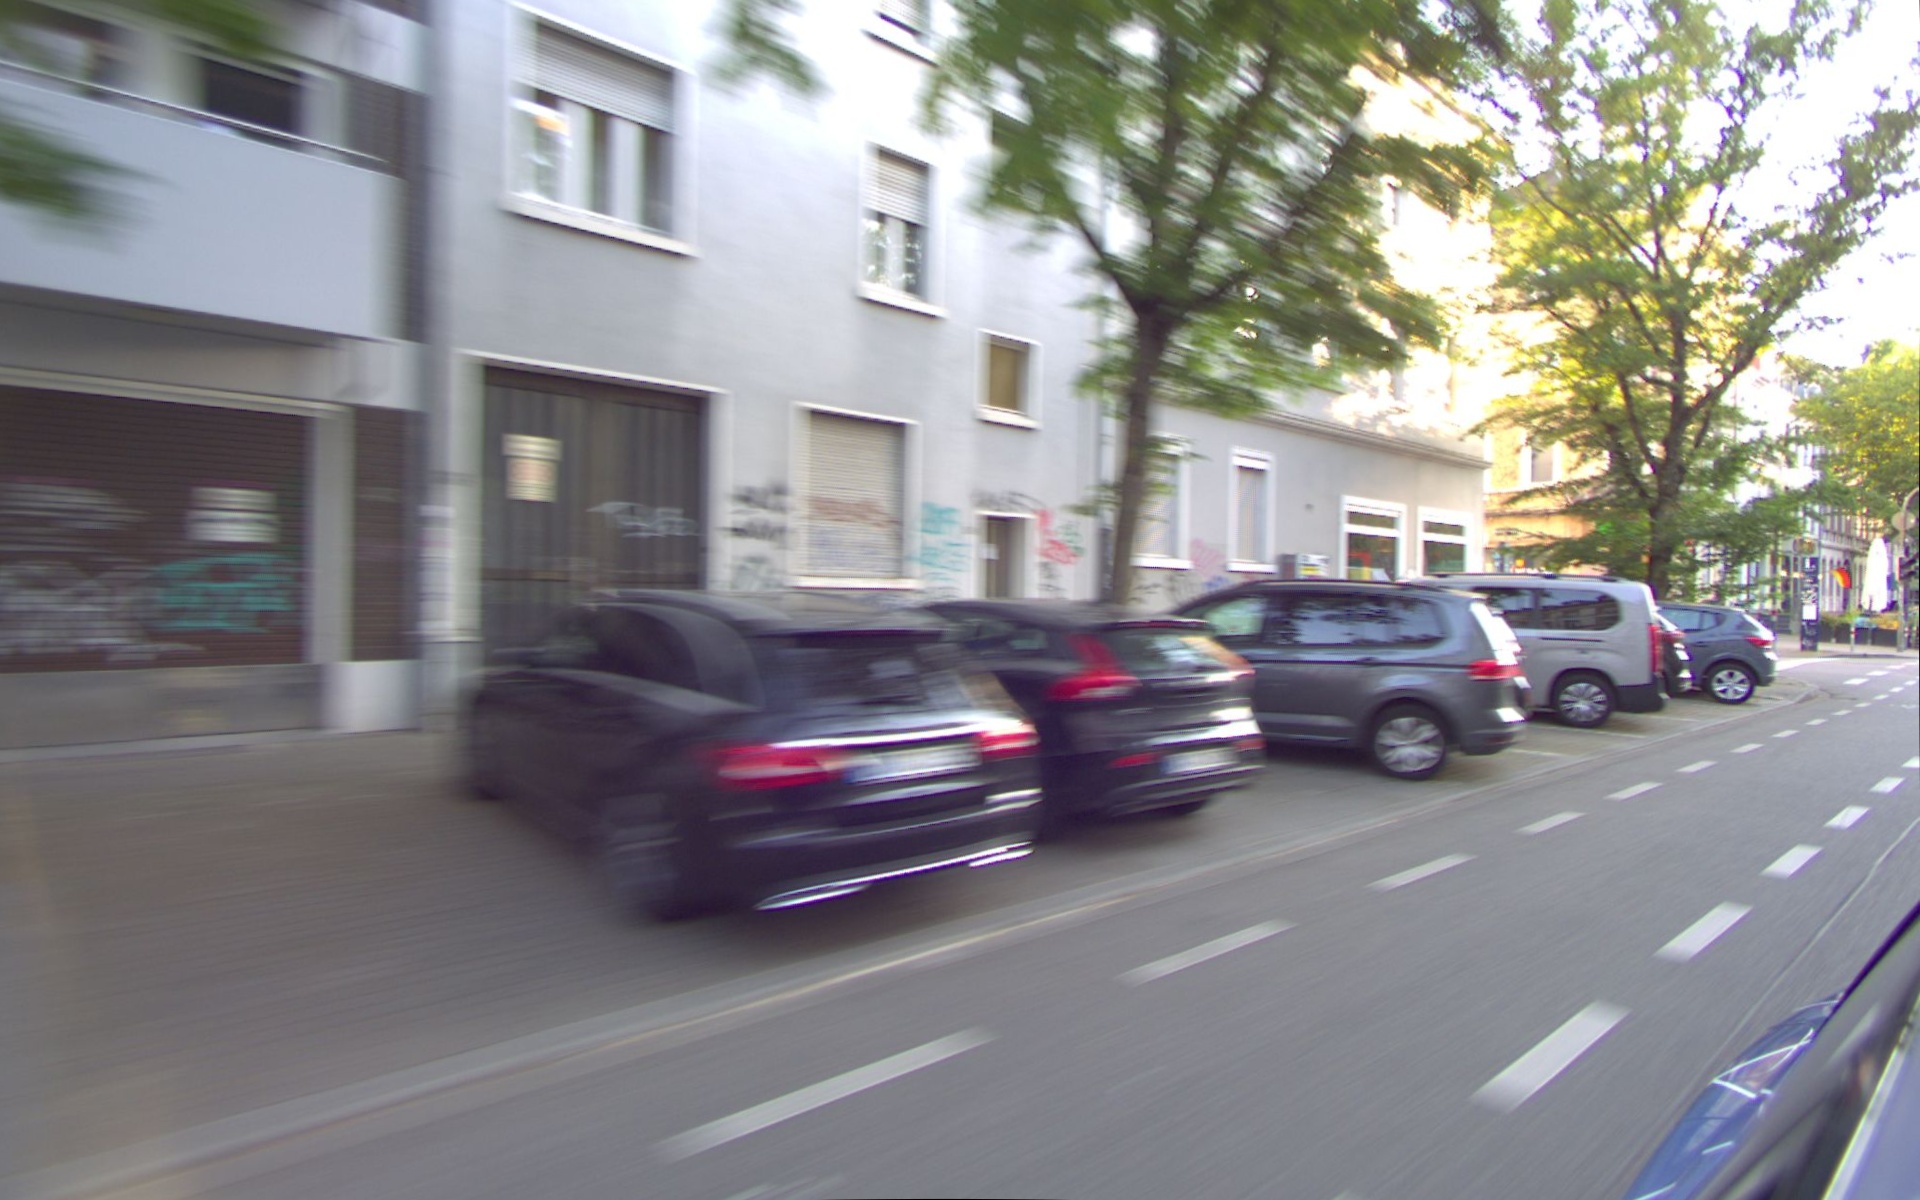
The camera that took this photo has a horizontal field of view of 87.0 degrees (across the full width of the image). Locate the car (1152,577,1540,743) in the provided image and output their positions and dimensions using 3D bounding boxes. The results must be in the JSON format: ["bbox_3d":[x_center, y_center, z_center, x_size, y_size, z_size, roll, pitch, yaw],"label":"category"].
[{"bbox_3d":[4.418,0.571,11.779,3.964,1.586,1.703,2,1,29],"label":"car"}]

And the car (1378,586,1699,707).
[{"bbox_3d":[8.475,0.597,15.156,3.964,1.586,1.703,1,0,29],"label":"car"}]

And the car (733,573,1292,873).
[{"bbox_3d":[0.119,0.600,7.271,1.690,1.482,3.994,1,1,-41],"label":"car"}]

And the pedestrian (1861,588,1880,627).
[{"bbox_3d":[42.573,0.347,47.336,0.633,1.774,0.499,0,2,-36],"label":"pedestrian"}]

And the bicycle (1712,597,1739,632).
[{"bbox_3d":[27.588,0.502,36.465,1.558,1.226,0.470,0,0,-41],"label":"bicycle"}]

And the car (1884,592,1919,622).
[{"bbox_3d":[49.598,0.415,51.058,4.093,1.470,1.788,3,1,35],"label":"car"}]

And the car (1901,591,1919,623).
[{"bbox_3d":[52.492,0.448,53.400,1.692,1.720,3.989,2,1,-42],"label":"car"}]

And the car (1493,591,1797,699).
[{"bbox_3d":[11.107,0.645,16.756,3.967,1.560,1.760,1,0,31],"label":"car"}]

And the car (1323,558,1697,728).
[{"bbox_3d":[6.982,0.441,13.192,3.965,1.838,1.806,3,1,29],"label":"car"}]

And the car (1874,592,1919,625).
[{"bbox_3d":[47.634,0.483,48.993,4.586,1.536,1.796,3,1,24],"label":"car"}]

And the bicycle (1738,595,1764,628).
[{"bbox_3d":[30.733,0.435,39.319,1.752,1.226,0.470,0,0,-41],"label":"bicycle"}]

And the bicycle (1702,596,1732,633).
[{"bbox_3d":[26.227,0.493,35.055,1.558,1.226,0.524,0,0,-41],"label":"bicycle"}]

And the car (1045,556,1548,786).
[{"bbox_3d":[3.083,0.499,9.592,4.153,1.717,1.829,2,1,28],"label":"car"}]

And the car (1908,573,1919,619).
[{"bbox_3d":[57.505,-0.119,57.294,5.196,2.653,1.905,3,2,34],"label":"car"}]

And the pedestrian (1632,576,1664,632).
[{"bbox_3d":[23.468,0.121,34.526,0.600,1.855,0.560,3,0,-4],"label":"pedestrian"}]

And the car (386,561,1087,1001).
[{"bbox_3d":[-1.568,0.569,5.633,4.379,1.482,1.692,3,1,45],"label":"car"}]
